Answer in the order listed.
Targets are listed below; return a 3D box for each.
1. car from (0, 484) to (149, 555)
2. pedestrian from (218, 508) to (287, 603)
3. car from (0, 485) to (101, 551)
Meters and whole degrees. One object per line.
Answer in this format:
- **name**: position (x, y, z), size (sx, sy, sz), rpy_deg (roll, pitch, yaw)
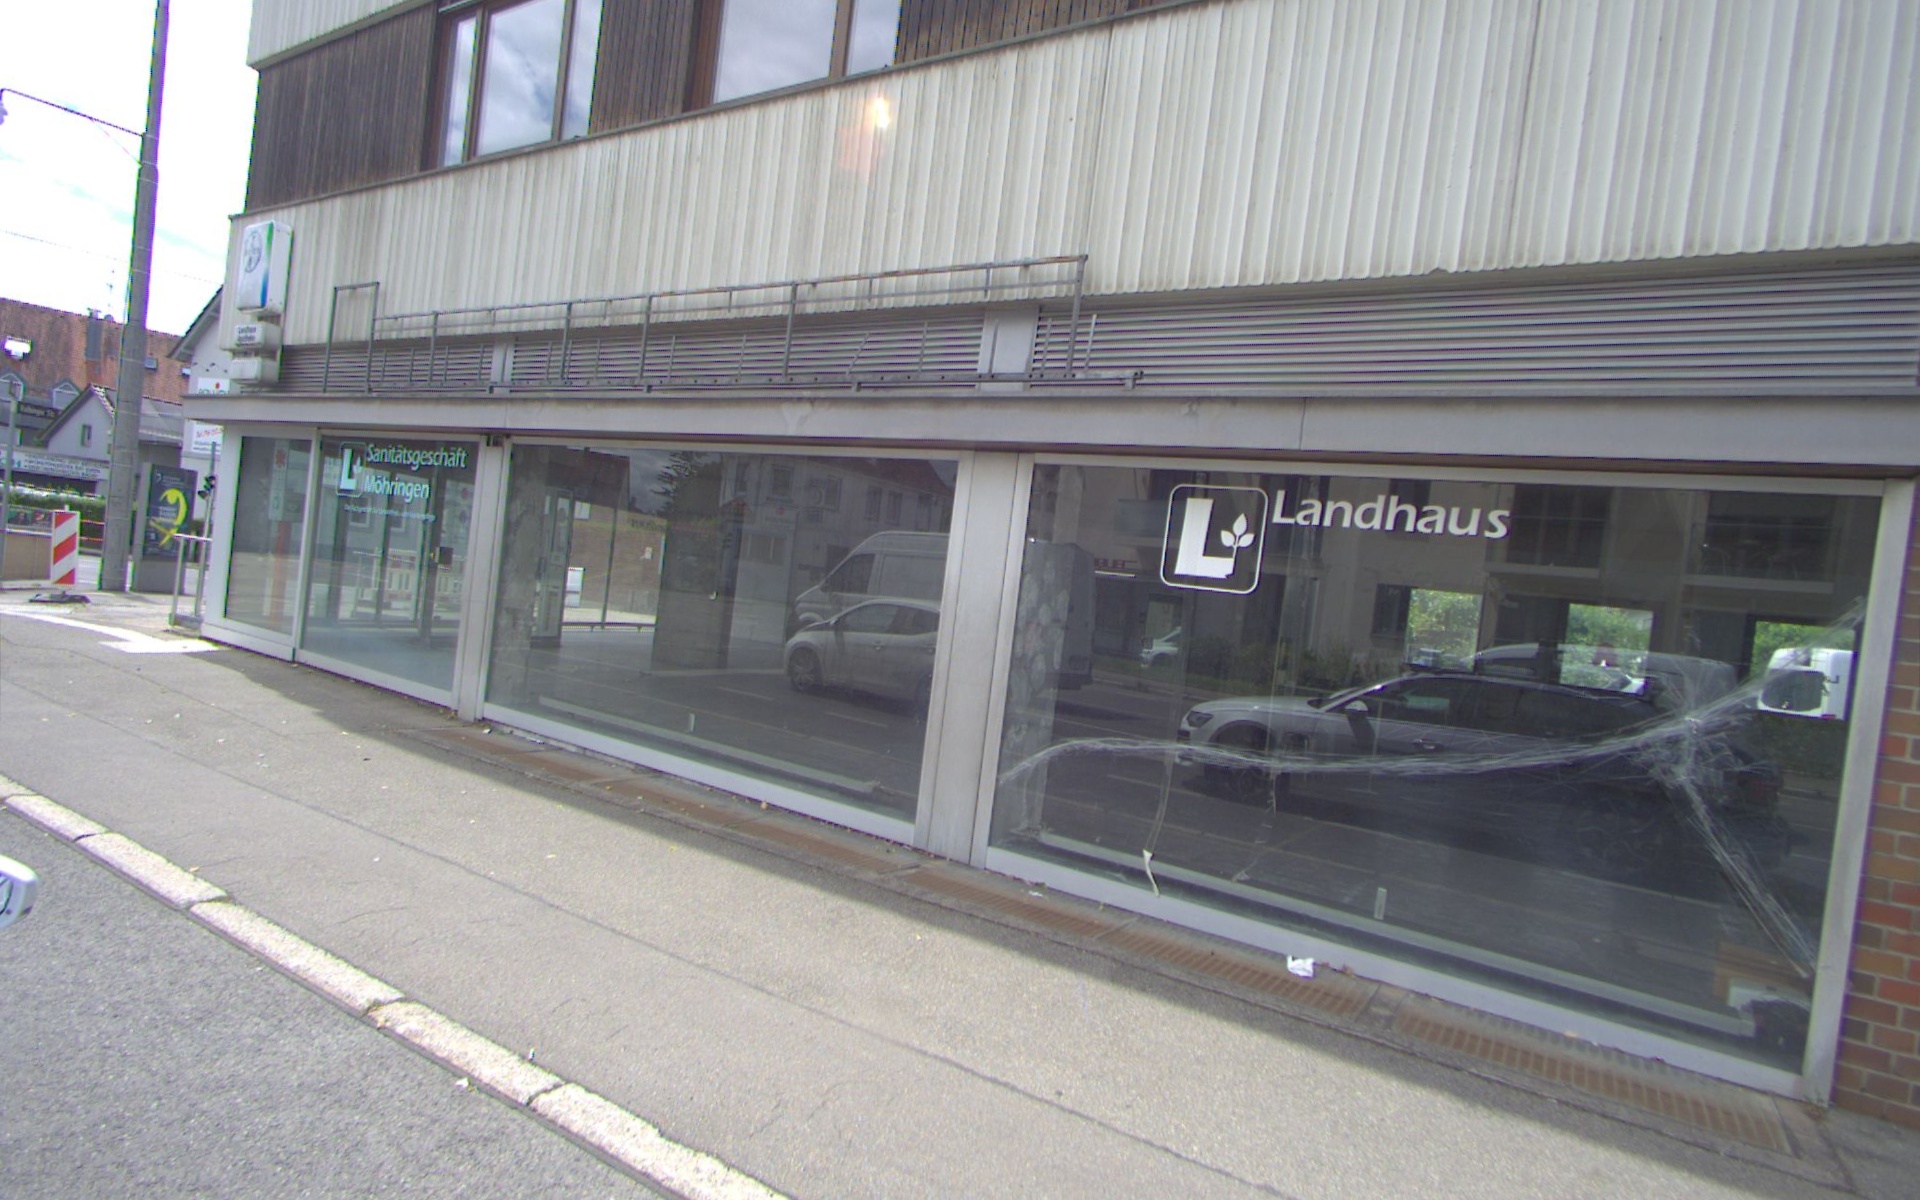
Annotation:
- **car**: position (-32.856, -2.939, 37.080), size (1.964, 1.971, 4.000), rpy_deg (7, -1, 23)
- **pedestrian**: position (-13.384, -0.842, 19.026), size (0.831, 1.657, 0.863), rpy_deg (7, 0, -42)
- **car**: position (-35.164, -3.174, 37.659), size (1.964, 2.037, 4.000), rpy_deg (7, -1, 24)
